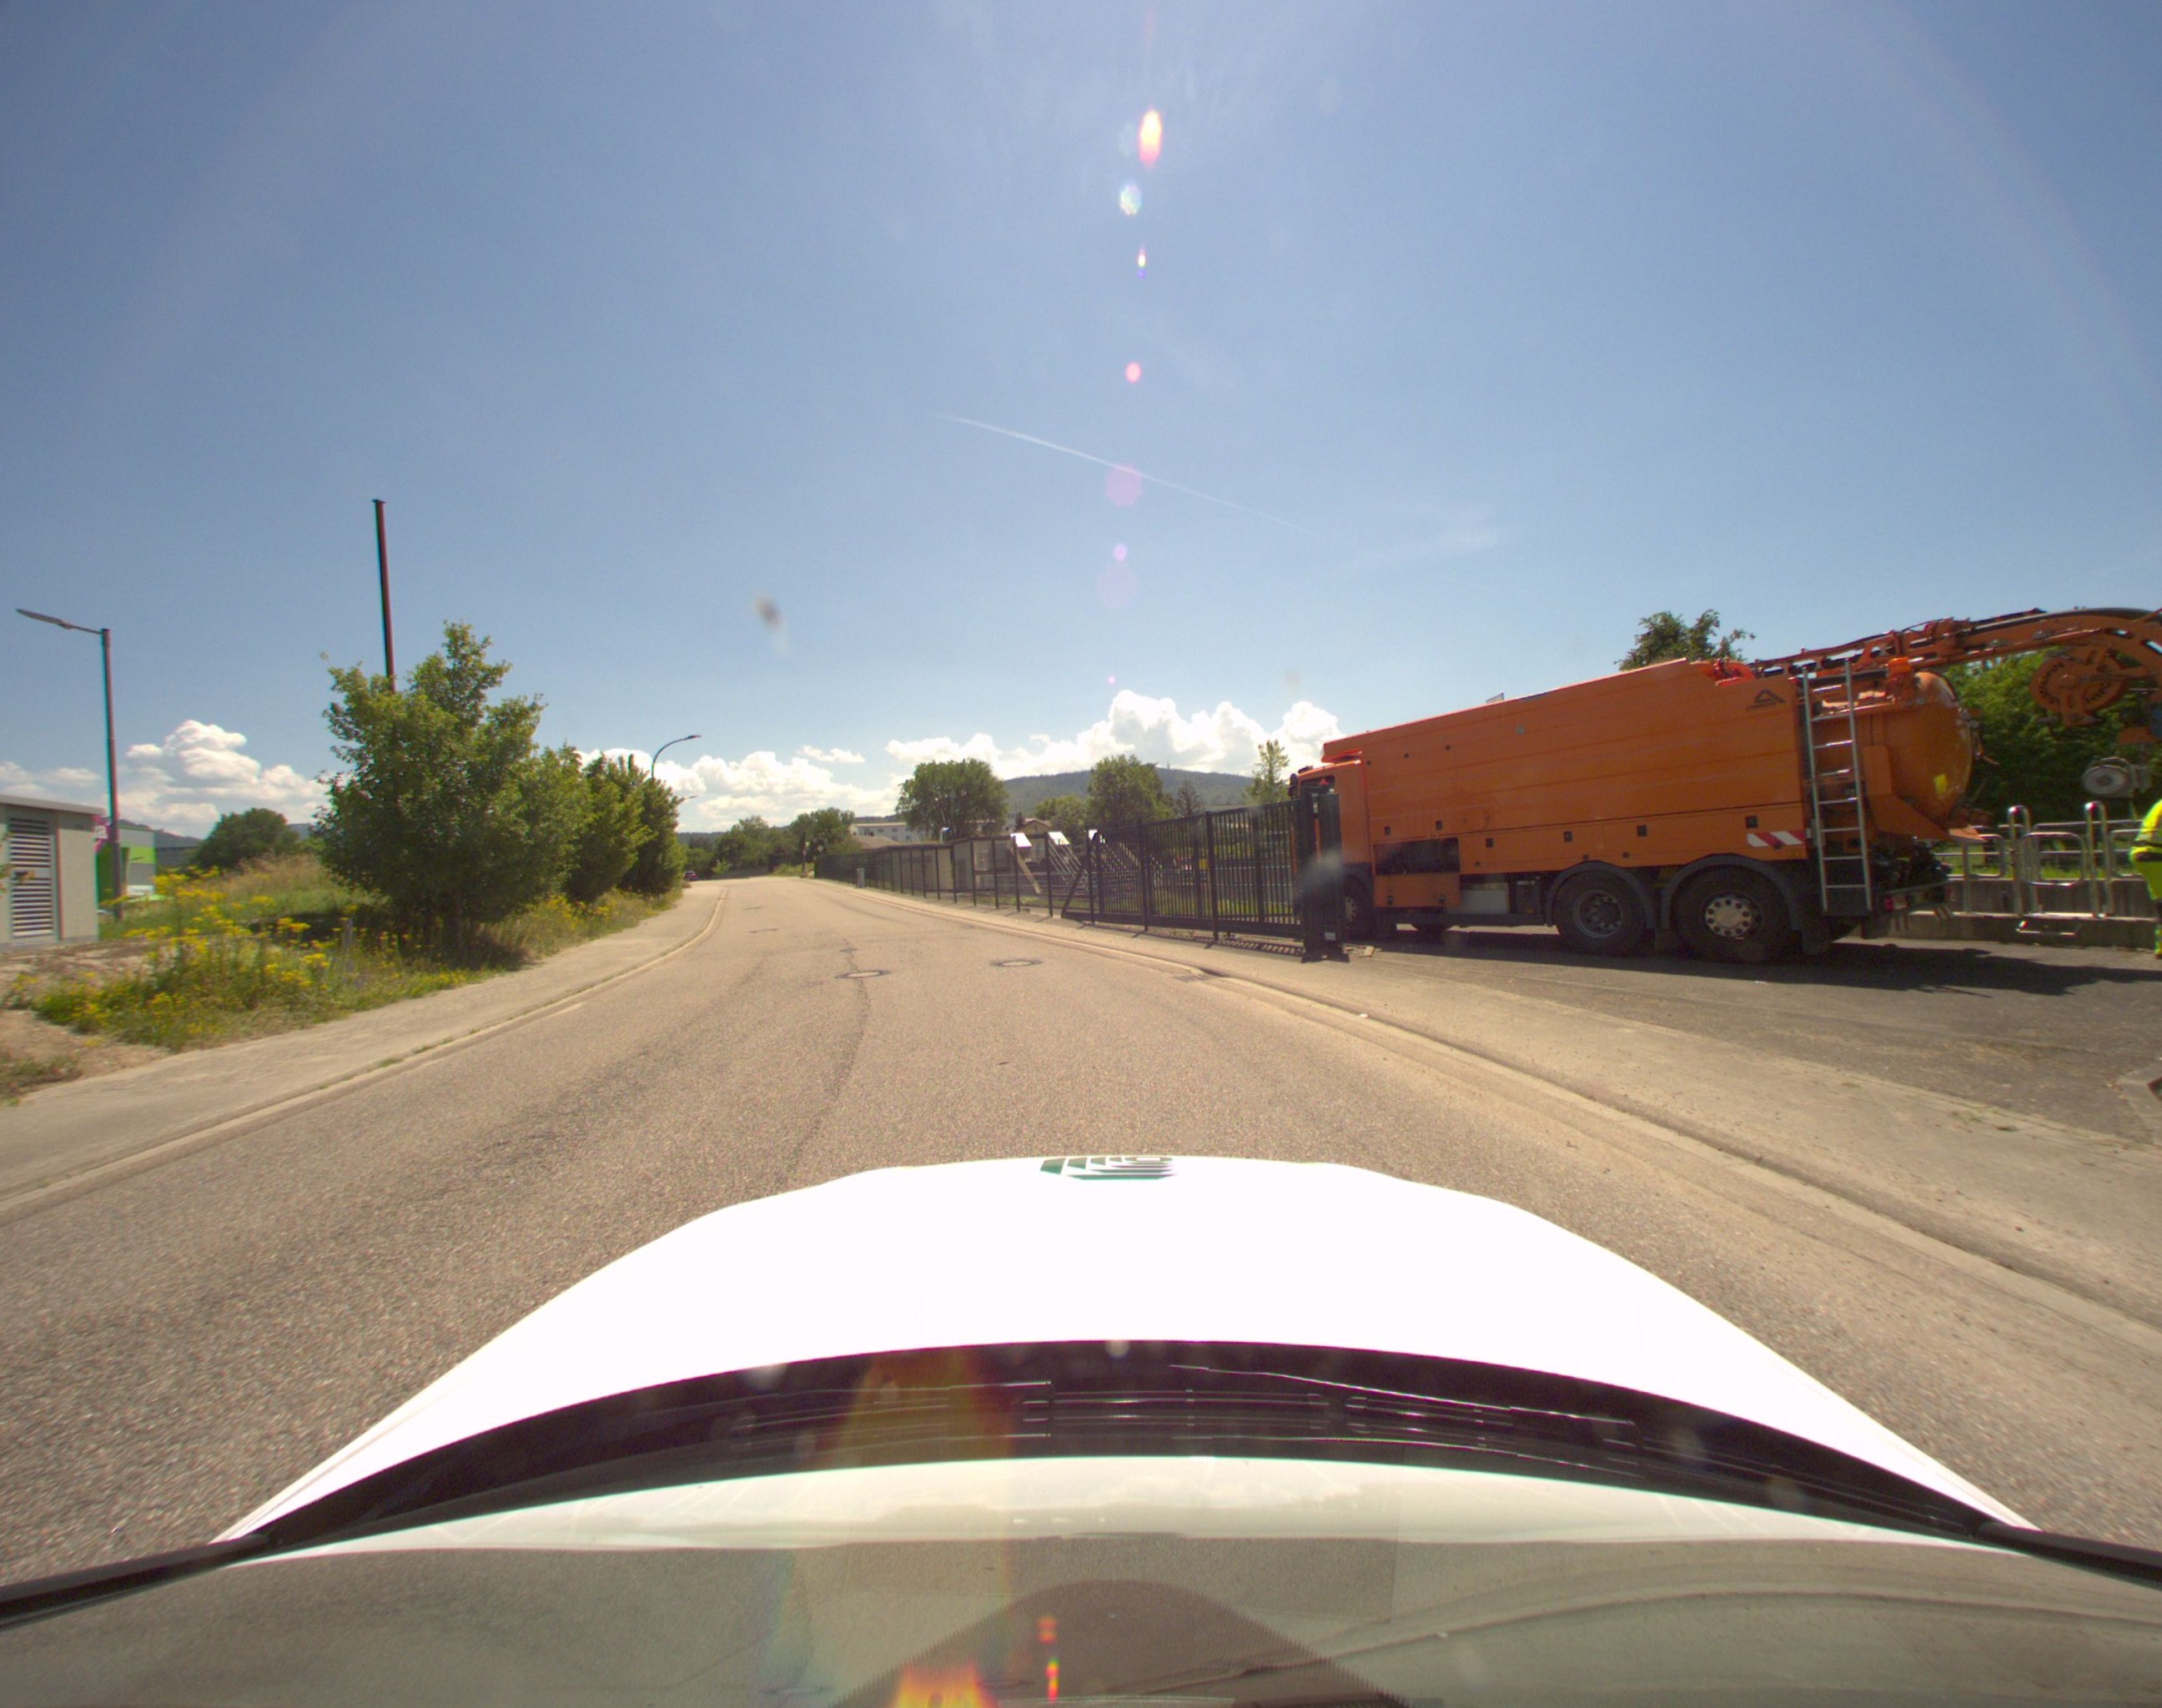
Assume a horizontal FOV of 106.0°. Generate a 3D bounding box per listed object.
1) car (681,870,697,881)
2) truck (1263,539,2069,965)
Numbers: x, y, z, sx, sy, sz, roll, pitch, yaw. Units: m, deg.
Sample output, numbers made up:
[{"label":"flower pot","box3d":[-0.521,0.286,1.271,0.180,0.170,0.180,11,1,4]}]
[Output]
[{"label":"car","box3d":[-56.623,3.071,117.730,1.787,1.448,3.419,-3,0,-30]},{"label":"truck","box3d":[7.342,-0.849,12.005,4.179,3.806,8.526,-4,-1,-31]}]
